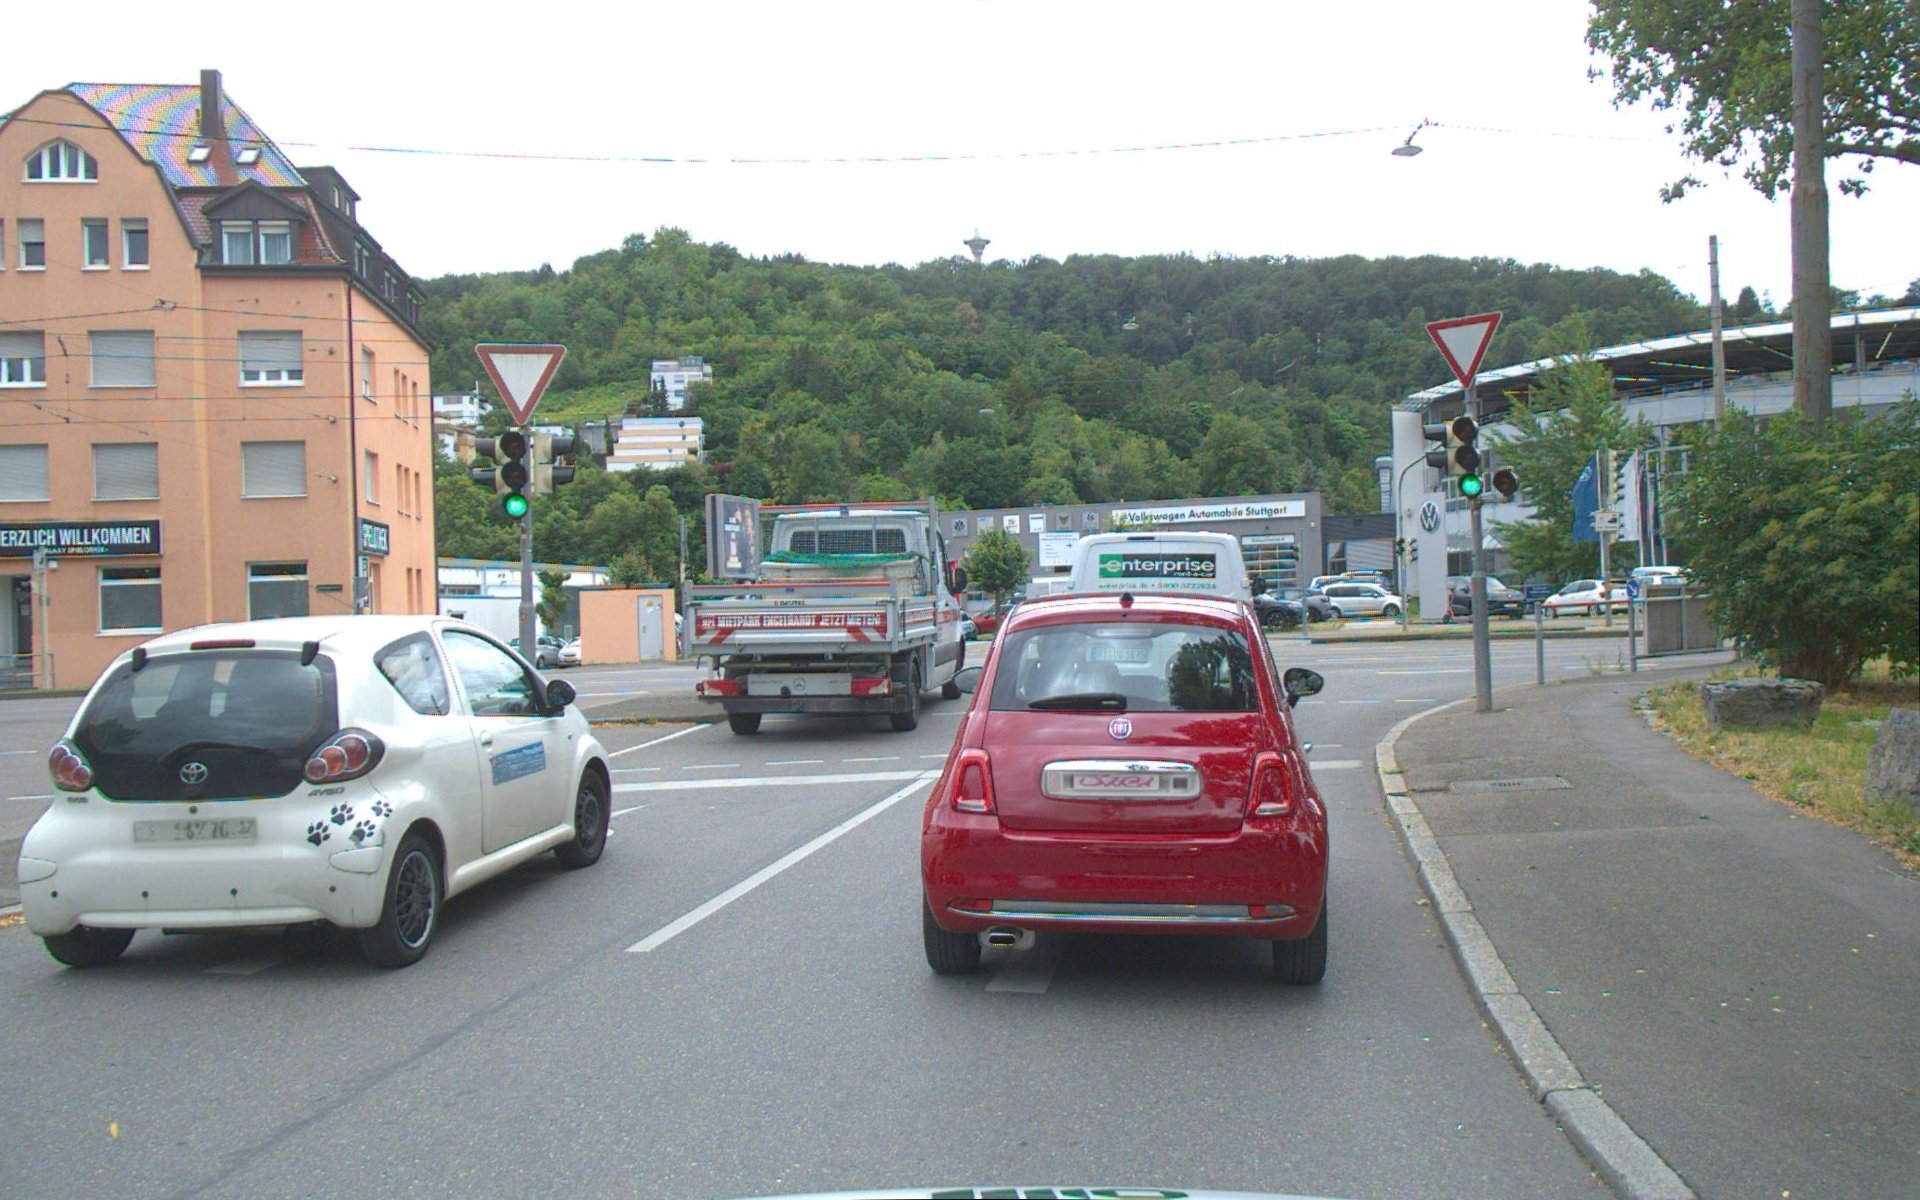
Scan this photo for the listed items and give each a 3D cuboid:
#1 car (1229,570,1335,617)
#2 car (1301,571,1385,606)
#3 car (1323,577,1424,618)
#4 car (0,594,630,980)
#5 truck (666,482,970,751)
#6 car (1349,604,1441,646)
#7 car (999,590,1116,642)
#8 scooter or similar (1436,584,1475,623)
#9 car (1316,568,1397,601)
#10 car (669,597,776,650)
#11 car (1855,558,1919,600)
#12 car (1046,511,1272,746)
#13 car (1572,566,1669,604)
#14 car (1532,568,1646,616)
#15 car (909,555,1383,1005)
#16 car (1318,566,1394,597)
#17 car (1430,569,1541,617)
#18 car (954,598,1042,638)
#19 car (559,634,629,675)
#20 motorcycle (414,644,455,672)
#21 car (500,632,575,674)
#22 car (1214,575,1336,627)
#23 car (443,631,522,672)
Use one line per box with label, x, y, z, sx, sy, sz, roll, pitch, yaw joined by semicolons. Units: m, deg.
car;12.984;-0.251;66.922;3.904;1.736;2.000;1;-1;1
car;21.310;-0.637;92.208;4.400;1.759;2.001;1;-1;9
car;19.248;-0.110;77.132;4.400;1.759;2.001;1;-1;9
car;-2.907;0.745;8.227;1.560;1.445;3.375;-3;0;4
truck;-1.335;0.087;18.452;2.264;2.463;5.659;-2;1;6
car;22.277;1.308;84.894;4.400;2.032;2.001;1;-1;10
car;4.405;0.730;74.539;4.895;2.049;2.001;-3;-2;15
scooter or similar;17.331;0.132;57.873;1.175;1.311;0.576;1;-1;5
car;23.067;-0.884;96.311;4.400;1.759;2.001;1;-1;9
car;-10.874;1.076;75.735;4.443;2.282;1.982;2;-1;-28
car;37.307;-0.854;64.520;1.891;1.581;3.981;-3;0;-17
car;2.231;0.187;17.305;1.956;2.076;4.836;1;1;11
car;30.329;-0.668;76.060;1.897;1.581;3.968;2;-1;-25
car;23.497;-0.256;61.939;1.962;1.669;3.981;2;-1;-17
car;0.953;0.632;7.937;1.661;1.552;4.003;1;0;9
car;24.246;-1.127;101.365;4.400;1.759;2.001;1;-1;9
car;19.237;-0.221;60.708;1.962;1.668;3.981;-1;0;-17
car;2.040;0.967;88.294;4.400;2.032;2.001;1;-1;10
car;-17.515;2.585;79.370;1.951;1.871;4.513;1;-1;6
motorcycle;-19.680;2.154;61.918;1.675;1.001;0.527;1;-2;36
car;-20.205;2.516;79.318;1.951;1.871;4.513;1;-1;6
car;11.120;0.018;58.353;3.907;1.668;2.000;1;3;24
car;-22.878;2.449;79.363;1.951;1.871;4.513;1;-1;7
